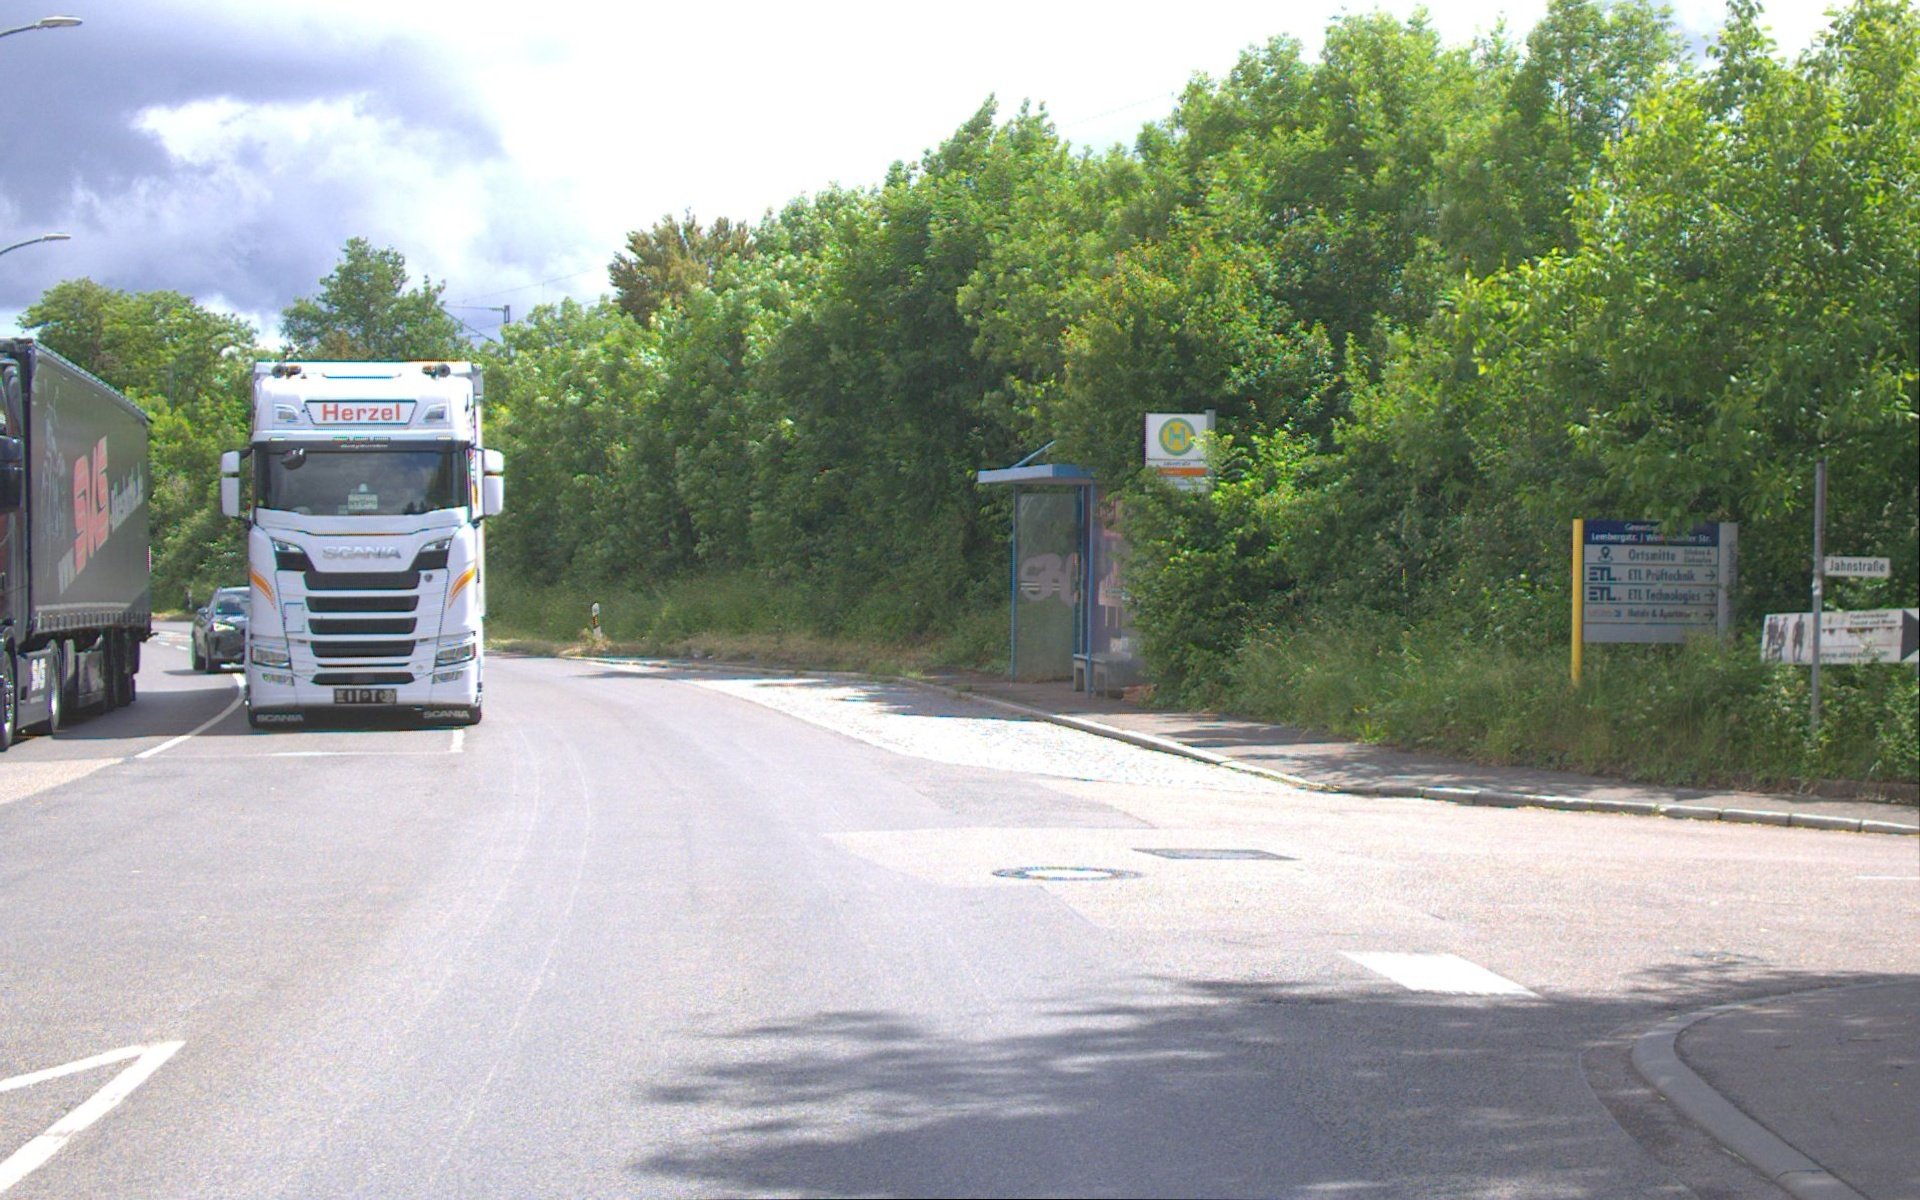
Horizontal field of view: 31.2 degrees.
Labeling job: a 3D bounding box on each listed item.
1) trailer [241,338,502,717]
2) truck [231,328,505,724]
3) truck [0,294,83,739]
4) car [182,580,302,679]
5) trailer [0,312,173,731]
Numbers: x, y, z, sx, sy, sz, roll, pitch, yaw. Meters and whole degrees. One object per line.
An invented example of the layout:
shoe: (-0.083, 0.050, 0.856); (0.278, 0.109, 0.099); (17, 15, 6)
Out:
trailer: (-7.948, -0.814, 45.468); (2.770, 4.131, 15.355); (1, 0, -11)
truck: (-6.673, -0.766, 38.527); (2.770, 4.105, 4.988); (1, 0, -11)
truck: (-10.545, -0.780, 34.194); (2.798, 4.039, 6.502); (1, 0, -8)
car: (-12.846, 0.505, 61.334); (1.993, 1.700, 4.001); (1, 0, -13)
trailer: (-11.441, -0.796, 40.699); (2.798, 4.039, 15.559); (1, 0, -8)
